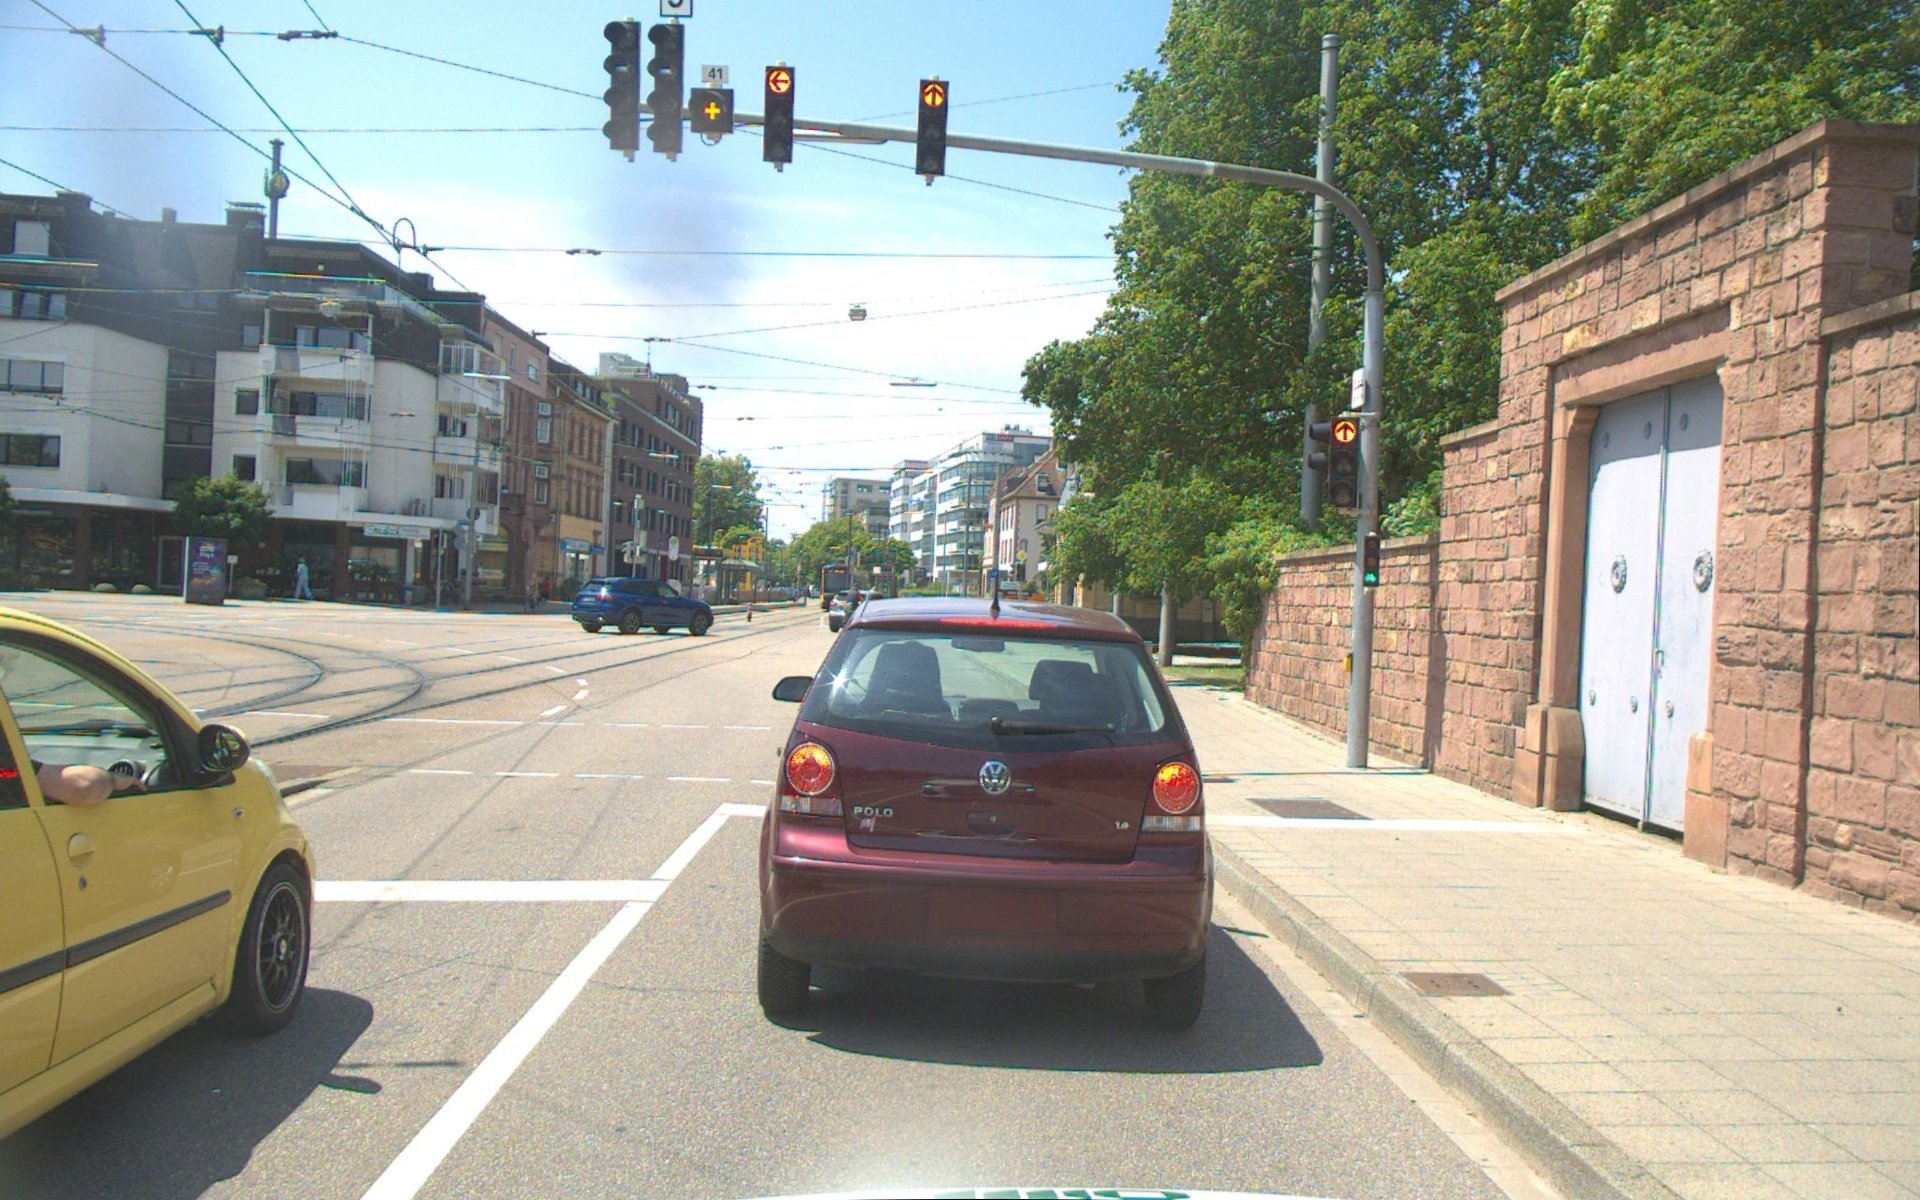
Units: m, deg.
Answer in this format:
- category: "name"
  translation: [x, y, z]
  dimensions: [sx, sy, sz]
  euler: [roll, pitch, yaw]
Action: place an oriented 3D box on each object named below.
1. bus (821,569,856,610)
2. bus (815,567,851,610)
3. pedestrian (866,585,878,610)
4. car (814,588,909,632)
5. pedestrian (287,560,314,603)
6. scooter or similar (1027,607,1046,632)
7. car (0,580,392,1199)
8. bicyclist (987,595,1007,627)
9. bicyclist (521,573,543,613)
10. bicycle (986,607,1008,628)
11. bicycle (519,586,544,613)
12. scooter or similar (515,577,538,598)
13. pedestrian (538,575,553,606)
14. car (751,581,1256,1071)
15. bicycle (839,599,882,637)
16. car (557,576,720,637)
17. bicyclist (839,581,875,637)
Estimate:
- category: "bus"
  translation: [-9.568, -0.813, 131.040]
  dimensions: [2.187, 3.055, 6.593]
  euler: [2, 0, 0]
- category: "bus"
  translation: [-9.533, -0.841, 124.465]
  dimensions: [2.101, 3.055, 6.573]
  euler: [2, 0, 0]
- category: "pedestrian"
  translation: [-6.075, -0.152, 114.467]
  dimensions: [0.747, 1.704, 1.100]
  euler: [2, 0, -1]
- category: "car"
  translation: [-3.703, 0.405, 62.807]
  dimensions: [1.788, 1.556, 3.995]
  euler: [2, 0, 27]
- category: "pedestrian"
  translation: [-27.189, -0.773, 68.180]
  dimensions: [0.789, 1.726, 0.701]
  euler: [2, 0, 0]
- category: "scooter or similar"
  translation: [3.880, 0.998, 83.955]
  dimensions: [0.335, 1.198, 1.456]
  euler: [3, 0, -25]
- category: "car"
  translation: [-2.887, 0.683, 4.410]
  dimensions: [1.583, 1.446, 3.654]
  euler: [0, 0, -2]
- category: "bicyclist"
  translation: [1.938, 0.576, 86.170]
  dimensions: [0.815, 1.646, 0.860]
  euler: [-1, 1, 18]
- category: "bicyclist"
  translation: [-19.832, -0.333, 76.666]
  dimensions: [0.680, 1.796, 1.137]
  euler: [2, 1, -2]
- category: "bicycle"
  translation: [1.924, 0.895, 86.148]
  dimensions: [0.654, 1.020, 1.865]
  euler: [-1, 2, 18]
- category: "bicycle"
  translation: [-19.876, -0.022, 76.707]
  dimensions: [0.680, 1.169, 1.931]
  euler: [2, 1, -2]
- category: "scooter or similar"
  translation: [-23.984, -0.694, 91.435]
  dimensions: [0.477, 1.101, 1.578]
  euler: [2, 0, 15]
- category: "pedestrian"
  translation: [-21.864, -0.518, 87.210]
  dimensions: [0.602, 1.588, 0.640]
  euler: [2, 0, -2]
- category: "car"
  translation: [0.093, 0.706, 6.709]
  dimensions: [1.530, 1.479, 3.060]
  euler: [2, 0, -2]
- category: "bicycle"
  translation: [-3.278, 0.606, 54.524]
  dimensions: [0.368, 1.218, 1.900]
  euler: [2, 0, 31]
- category: "car"
  translation: [-9.648, 0.218, 49.929]
  dimensions: [1.962, 1.653, 4.609]
  euler: [2, 0, 39]
- category: "bicyclist"
  translation: [-3.398, 0.302, 54.390]
  dimensions: [0.715, 1.791, 0.920]
  euler: [2, 0, 35]
